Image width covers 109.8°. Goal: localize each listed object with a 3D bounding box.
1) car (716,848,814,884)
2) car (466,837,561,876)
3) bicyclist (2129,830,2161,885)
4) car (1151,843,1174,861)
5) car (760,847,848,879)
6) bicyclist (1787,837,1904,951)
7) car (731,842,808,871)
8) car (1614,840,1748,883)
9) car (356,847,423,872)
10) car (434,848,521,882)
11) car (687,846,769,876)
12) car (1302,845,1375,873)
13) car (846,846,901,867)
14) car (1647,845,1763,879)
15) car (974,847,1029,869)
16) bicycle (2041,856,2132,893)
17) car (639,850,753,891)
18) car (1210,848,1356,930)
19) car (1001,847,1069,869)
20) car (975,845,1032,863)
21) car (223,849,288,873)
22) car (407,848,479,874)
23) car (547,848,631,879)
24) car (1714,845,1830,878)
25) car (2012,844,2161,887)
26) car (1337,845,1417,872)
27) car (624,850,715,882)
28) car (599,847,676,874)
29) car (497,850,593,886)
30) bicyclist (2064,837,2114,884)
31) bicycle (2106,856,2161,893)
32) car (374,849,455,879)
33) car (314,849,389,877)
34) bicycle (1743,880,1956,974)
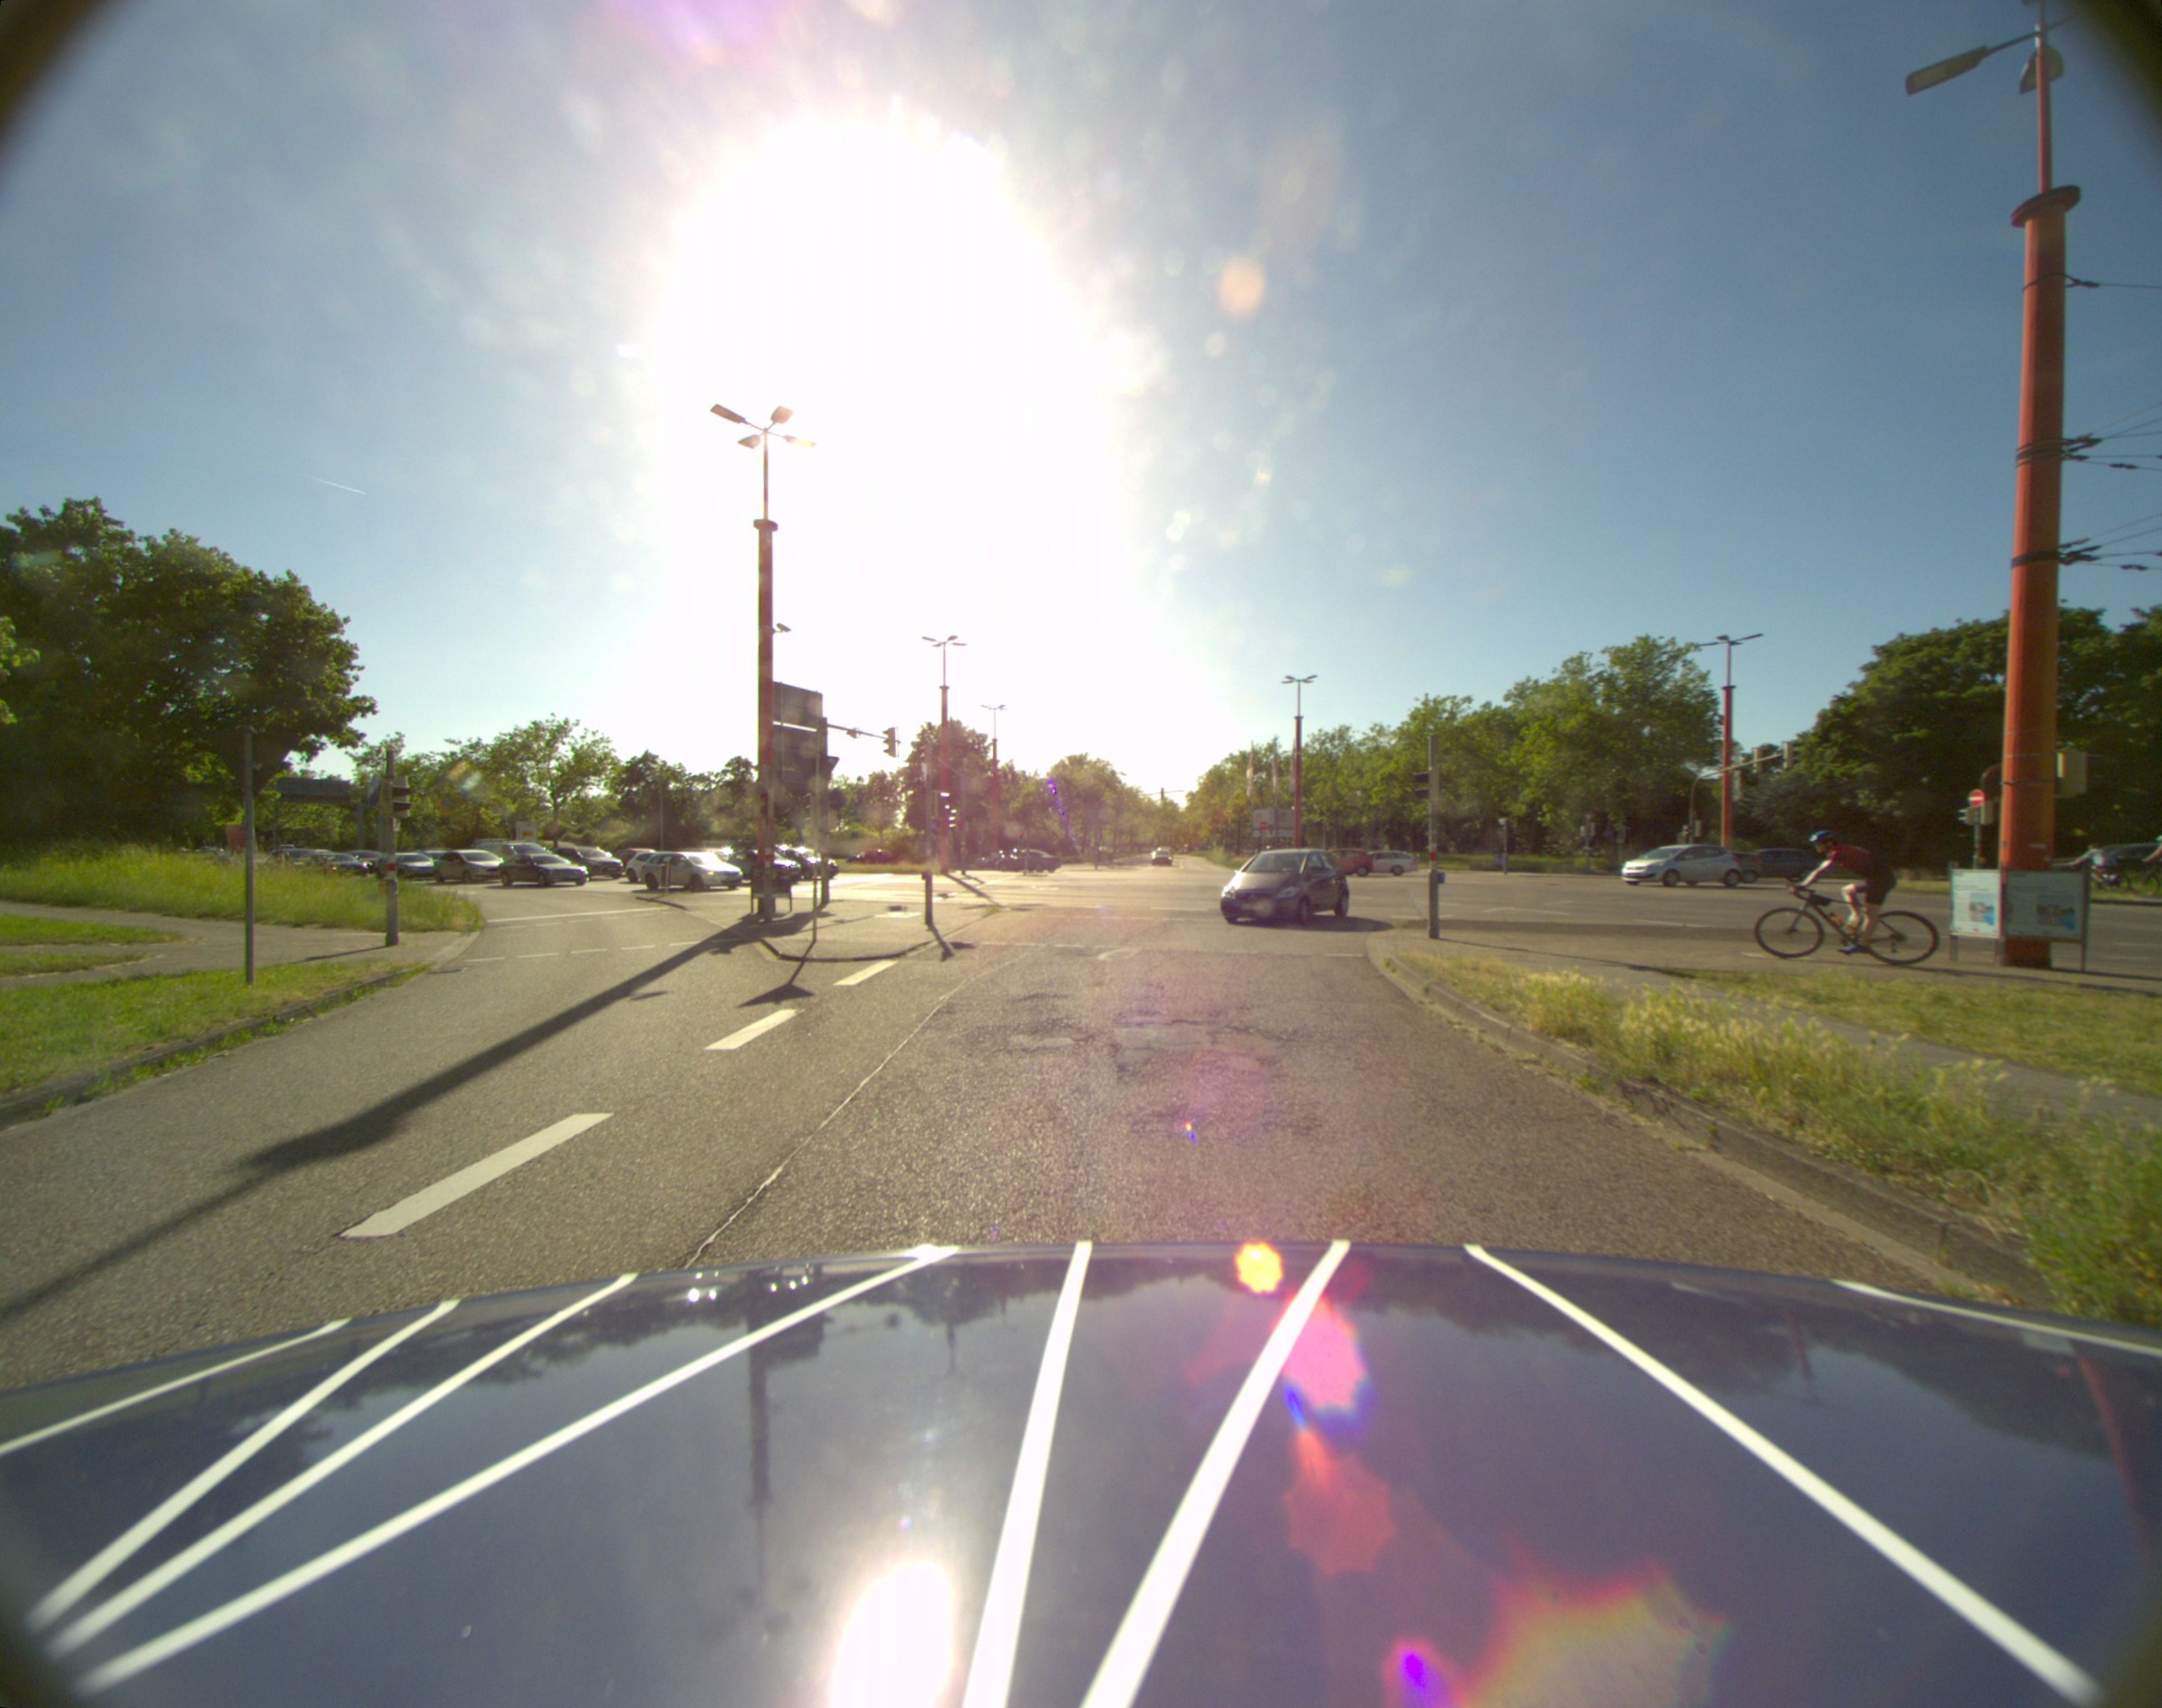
[{"bbox_3d":[-14.062,0.505,33.763,3.989,1.473,1.803,0,2,27],"label":"car"},{"bbox_3d":[-31.845,0.123,42.643,5.180,2.075,2.095,0,2,27],"label":"car"},{"bbox_3d":[33.009,0.103,23.350,0.562,1.642,0.714,0,1,1],"label":"bicyclist"},{"bbox_3d":[7.358,-0.178,68.209,1.797,1.501,4.003,0,0,10],"label":"car"},{"bbox_3d":[-13.605,0.402,37.306,3.989,1.473,1.803,0,2,27],"label":"car"},{"bbox_3d":[10.260,0.506,10.245,0.954,1.469,0.704,0,1,31],"label":"bicyclist"},{"bbox_3d":[-17.495,0.111,42.654,3.989,1.502,1.803,0,2,27],"label":"car"},{"bbox_3d":[22.909,0.280,29.072,3.903,1.579,1.704,0,0,-5],"label":"car"},{"bbox_3d":[-44.169,0.352,48.517,3.989,1.502,1.803,0,2,27],"label":"car"},{"bbox_3d":[-29.673,0.515,37.352,3.989,1.576,1.803,0,2,27],"label":"car"},{"bbox_3d":[-18.690,0.351,40.252,3.989,1.502,1.803,0,2,27],"label":"car"},{"bbox_3d":[13.990,0.253,41.283,3.662,1.450,1.592,0,1,24],"label":"car"},{"bbox_3d":[-14.729,0.144,54.045,3.529,1.422,1.616,1,0,23],"label":"car"},{"bbox_3d":[28.459,0.355,34.804,3.777,1.501,1.616,0,0,20],"label":"car"},{"bbox_3d":[-5.690,0.275,54.144,3.529,1.497,1.616,1,0,23],"label":"car"},{"bbox_3d":[31.855,0.624,24.110,0.500,1.101,1.800,0,1,1],"label":"bicycle"},{"bbox_3d":[-15.371,0.613,30.304,4.274,1.473,1.803,0,2,27],"label":"car"},{"bbox_3d":[4.614,0.685,17.056,1.795,1.580,3.771,1,1,39],"label":"car"},{"bbox_3d":[-2.962,0.260,48.842,3.990,1.361,1.803,1,0,25],"label":"car"},{"bbox_3d":[-6.770,-0.036,66.413,4.646,1.501,1.795,0,1,-32],"label":"car"},{"bbox_3d":[-54.141,0.427,49.819,3.989,1.502,1.803,0,2,27],"label":"car"},{"bbox_3d":[-38.349,0.385,45.658,3.989,1.502,1.803,0,2,27],"label":"car"},{"bbox_3d":[-25.368,0.452,39.178,3.989,1.498,1.803,0,2,27],"label":"car"},{"bbox_3d":[32.974,0.328,36.390,3.776,1.497,1.616,1,0,24],"label":"car"},{"bbox_3d":[37.884,0.412,27.738,4.614,1.501,1.793,0,0,24],"label":"car"},{"bbox_3d":[17.202,0.217,44.114,4.236,1.501,1.803,1,0,24],"label":"car"},{"bbox_3d":[-19.550,0.534,36.100,3.989,1.384,1.803,0,2,27],"label":"car"},{"bbox_3d":[-25.118,0.341,43.029,3.989,1.473,1.803,0,2,27],"label":"car"},{"bbox_3d":[-24.005,0.589,34.042,3.989,1.502,1.803,0,2,27],"label":"car"},{"bbox_3d":[31.854,0.200,24.026,0.500,1.439,0.778,0,1,1],"label":"bicyclist"},{"bbox_3d":[33.008,0.630,23.362,0.562,1.101,1.800,0,1,1],"label":"bicycle"},{"bbox_3d":[-35.347,0.507,40.273,3.989,1.502,1.803,0,2,27],"label":"car"},{"bbox_3d":[-41.797,0.477,43.549,3.989,1.502,1.803,0,2,27],"label":"car"},{"bbox_3d":[10.259,0.937,10.259,1.896,1.101,0.704,0,1,31],"label":"bicycle"}]
